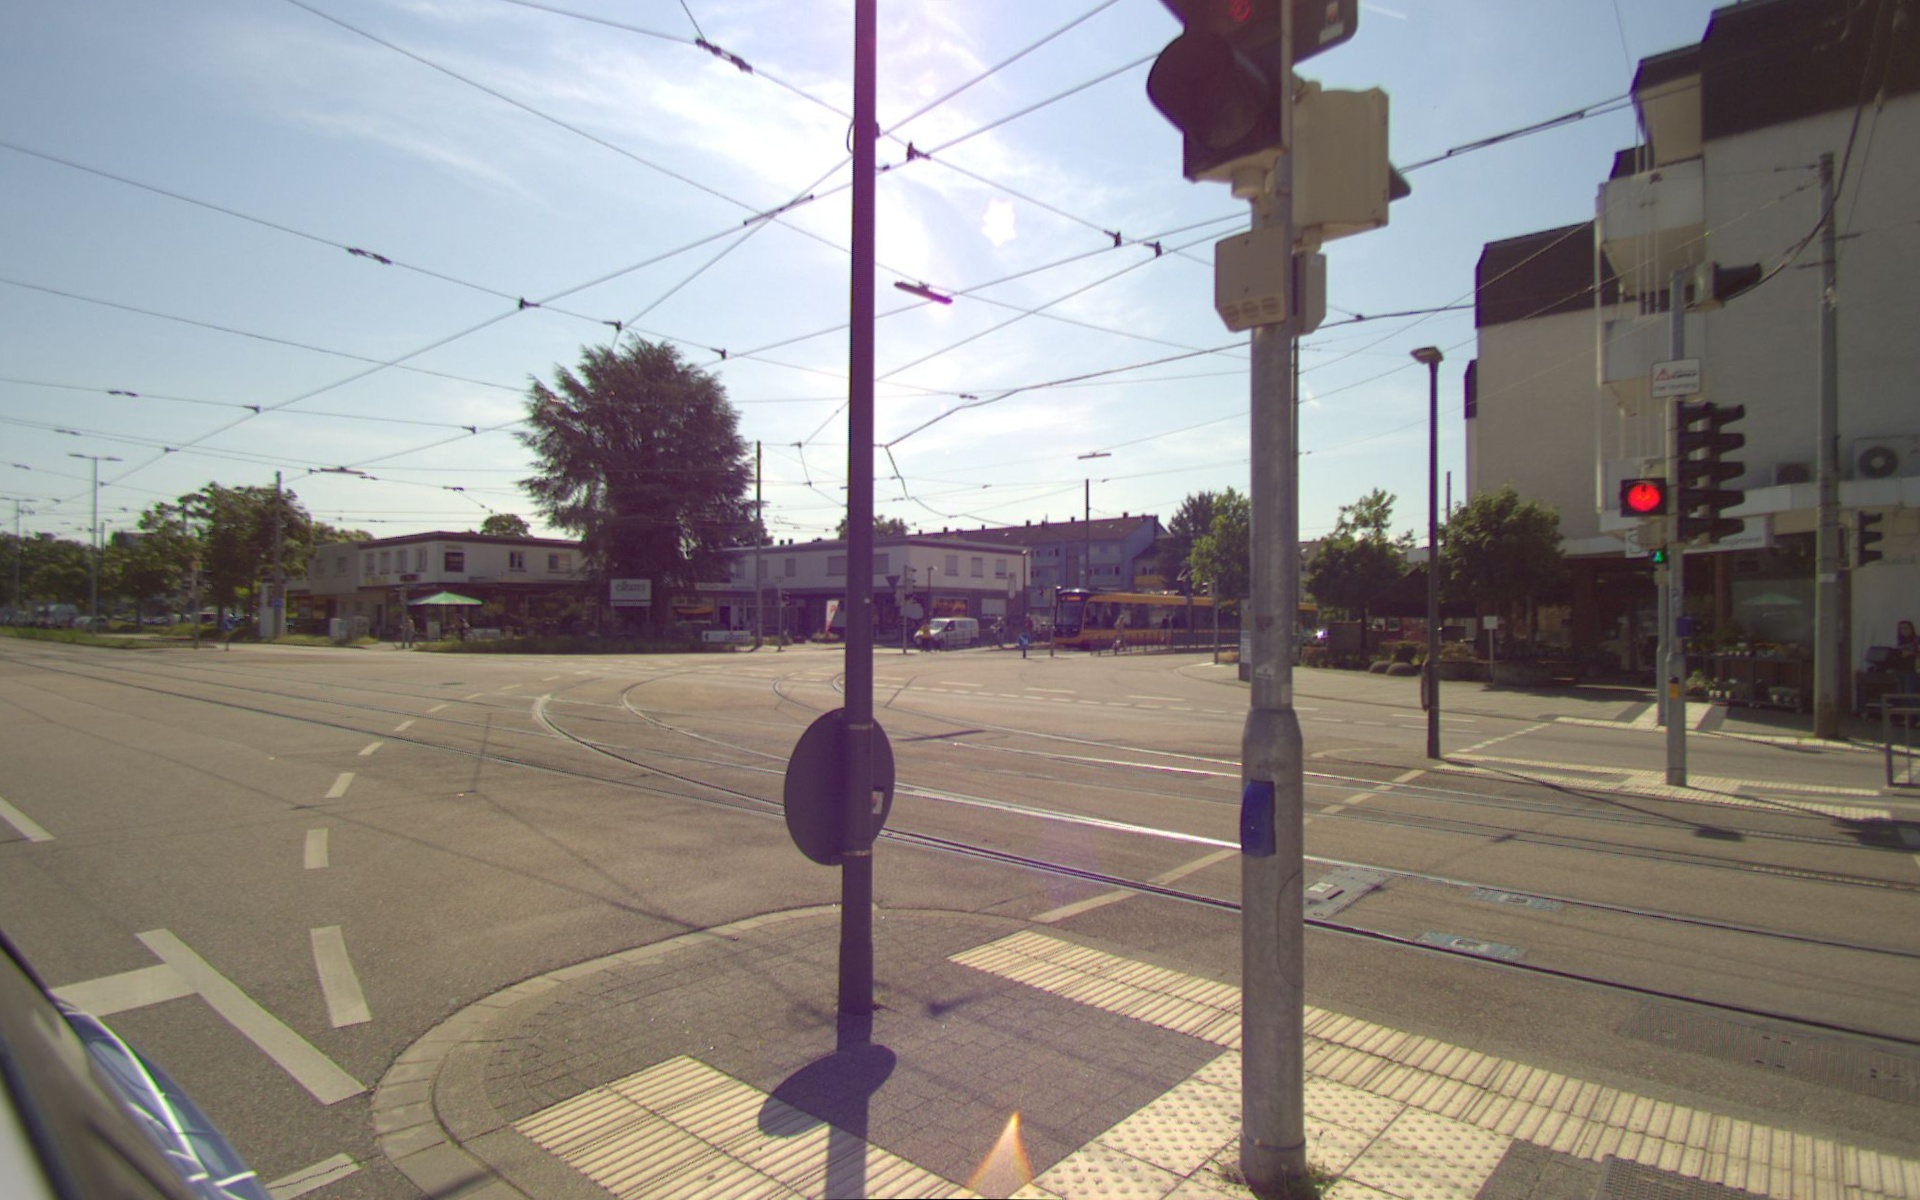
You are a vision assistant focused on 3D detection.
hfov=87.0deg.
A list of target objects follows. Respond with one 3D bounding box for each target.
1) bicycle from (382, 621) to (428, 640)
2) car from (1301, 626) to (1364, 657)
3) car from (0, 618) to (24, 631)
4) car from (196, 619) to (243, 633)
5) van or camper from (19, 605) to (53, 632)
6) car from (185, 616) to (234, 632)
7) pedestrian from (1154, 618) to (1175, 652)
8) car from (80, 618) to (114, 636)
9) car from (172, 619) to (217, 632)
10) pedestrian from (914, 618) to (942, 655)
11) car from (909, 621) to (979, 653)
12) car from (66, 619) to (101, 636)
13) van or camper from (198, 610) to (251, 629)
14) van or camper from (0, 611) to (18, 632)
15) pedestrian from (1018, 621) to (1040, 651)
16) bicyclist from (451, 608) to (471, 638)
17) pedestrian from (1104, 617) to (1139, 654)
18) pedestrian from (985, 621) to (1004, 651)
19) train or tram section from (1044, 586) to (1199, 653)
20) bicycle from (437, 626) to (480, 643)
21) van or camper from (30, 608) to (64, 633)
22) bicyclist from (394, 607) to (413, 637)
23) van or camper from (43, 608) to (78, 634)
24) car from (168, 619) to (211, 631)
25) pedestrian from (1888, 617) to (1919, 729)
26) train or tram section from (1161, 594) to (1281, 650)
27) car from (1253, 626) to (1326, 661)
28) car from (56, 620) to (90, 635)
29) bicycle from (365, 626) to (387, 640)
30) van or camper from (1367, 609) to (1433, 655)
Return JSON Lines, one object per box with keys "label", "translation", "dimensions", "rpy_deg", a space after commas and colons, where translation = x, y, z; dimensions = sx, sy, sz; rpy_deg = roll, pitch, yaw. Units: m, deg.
{"label": "bicycle", "translation": [-29.687, 1.634, 54.162], "dimensions": [2.099, 0.954, 0.537], "rpy_deg": [1, -2, -24]}
{"label": "car", "translation": [19.020, 2.092, 51.539], "dimensions": [1.826, 1.511, 3.947], "rpy_deg": [-1, -2, 39]}
{"label": "car", "translation": [-119.665, 3.105, 127.676], "dimensions": [4.229, 1.572, 1.869], "rpy_deg": [-1, -2, 40]}
{"label": "car", "translation": [-75.349, 2.665, 102.996], "dimensions": [1.710, 1.372, 3.580], "rpy_deg": [-1, -2, 38]}
{"label": "van or camper", "translation": [-103.675, 2.078, 113.484], "dimensions": [5.277, 3.008, 2.101], "rpy_deg": [-1, -2, 40]}
{"label": "car", "translation": [-77.385, 2.486, 104.409], "dimensions": [1.949, 1.581, 3.703], "rpy_deg": [-1, -2, 38]}
{"label": "pedestrian", "translation": [10.853, 1.862, 53.665], "dimensions": [0.763, 1.773, 0.800], "rpy_deg": [-1, -2, 42]}
{"label": "car", "translation": [-79.933, 2.466, 93.715], "dimensions": [4.284, 1.506, 1.868], "rpy_deg": [-1, 1, 42]}
{"label": "car", "translation": [-83.148, 2.777, 109.979], "dimensions": [1.811, 1.291, 3.580], "rpy_deg": [-1, -2, 38]}
{"label": "pedestrian", "translation": [-1.649, 1.889, 52.442], "dimensions": [0.896, 1.851, 1.185], "rpy_deg": [-1, -2, 41]}
{"label": "car", "translation": [-0.932, 2.294, 62.597], "dimensions": [1.775, 1.876, 4.597], "rpy_deg": [-1, -2, 40]}
{"label": "car", "translation": [-84.118, 2.650, 97.116], "dimensions": [4.282, 1.572, 1.869], "rpy_deg": [-1, -2, 40]}
{"label": "van or camper", "translation": [-108.439, 2.877, 149.277], "dimensions": [2.299, 2.751, 6.001], "rpy_deg": [-1, -2, 42]}
{"label": "van or camper", "translation": [-124.630, 2.764, 131.909], "dimensions": [5.449, 2.639, 2.087], "rpy_deg": [-1, -3, 41]}
{"label": "pedestrian", "translation": [3.986, 2.070, 58.558], "dimensions": [0.813, 1.693, 1.079], "rpy_deg": [-1, -2, 41]}
{"label": "bicyclist", "translation": [-27.125, 1.250, 55.022], "dimensions": [0.757, 1.587, 0.630], "rpy_deg": [0, -2, 9]}
{"label": "pedestrian", "translation": [8.189, 1.810, 51.240], "dimensions": [1.123, 1.850, 1.418], "rpy_deg": [-1, -3, 44]}
{"label": "pedestrian", "translation": [1.912, 1.992, 56.220], "dimensions": [0.784, 1.639, 0.651], "rpy_deg": [-1, -2, 41]}
{"label": "train or tram section", "translation": [10.181, 1.270, 61.823], "dimensions": [2.766, 3.686, 13.723], "rpy_deg": [-1, -2, 40]}
{"label": "bicycle", "translation": [-27.244, 1.898, 54.982], "dimensions": [2.111, 0.897, 0.574], "rpy_deg": [0, -2, 8]}
{"label": "van or camper", "translation": [-97.700, 2.206, 108.327], "dimensions": [4.836, 2.652, 2.014], "rpy_deg": [-1, -2, 40]}
{"label": "bicyclist", "translation": [-29.742, 1.181, 54.115], "dimensions": [0.752, 1.570, 0.634], "rpy_deg": [3, -3, -24]}
{"label": "van or camper", "translation": [-92.278, 2.168, 103.820], "dimensions": [4.836, 2.652, 2.014], "rpy_deg": [-1, -2, 40]}
{"label": "car", "translation": [-86.627, 2.838, 113.793], "dimensions": [1.710, 1.291, 3.580], "rpy_deg": [-1, -2, 38]}
{"label": "pedestrian", "translation": [14.452, 1.090, 15.176], "dimensions": [0.731, 1.660, 0.672], "rpy_deg": [-1, -2, 40]}
{"label": "train or tram section", "translation": [18.935, 1.628, 72.404], "dimensions": [2.766, 3.686, 13.723], "rpy_deg": [-1, -2, 40]}
{"label": "car", "translation": [15.212, 1.980, 46.611], "dimensions": [1.826, 1.511, 4.131], "rpy_deg": [-1, -2, 39]}
{"label": "car", "translation": [-88.089, 2.747, 100.468], "dimensions": [4.229, 1.506, 1.869], "rpy_deg": [-1, -2, 40]}
{"label": "bicycle", "translation": [-40.259, 2.279, 69.760], "dimensions": [1.910, 0.990, 0.750], "rpy_deg": [-1, -2, 41]}
{"label": "van or camper", "translation": [26.259, 1.887, 60.338], "dimensions": [2.374, 2.644, 4.826], "rpy_deg": [-1, -2, 39]}
